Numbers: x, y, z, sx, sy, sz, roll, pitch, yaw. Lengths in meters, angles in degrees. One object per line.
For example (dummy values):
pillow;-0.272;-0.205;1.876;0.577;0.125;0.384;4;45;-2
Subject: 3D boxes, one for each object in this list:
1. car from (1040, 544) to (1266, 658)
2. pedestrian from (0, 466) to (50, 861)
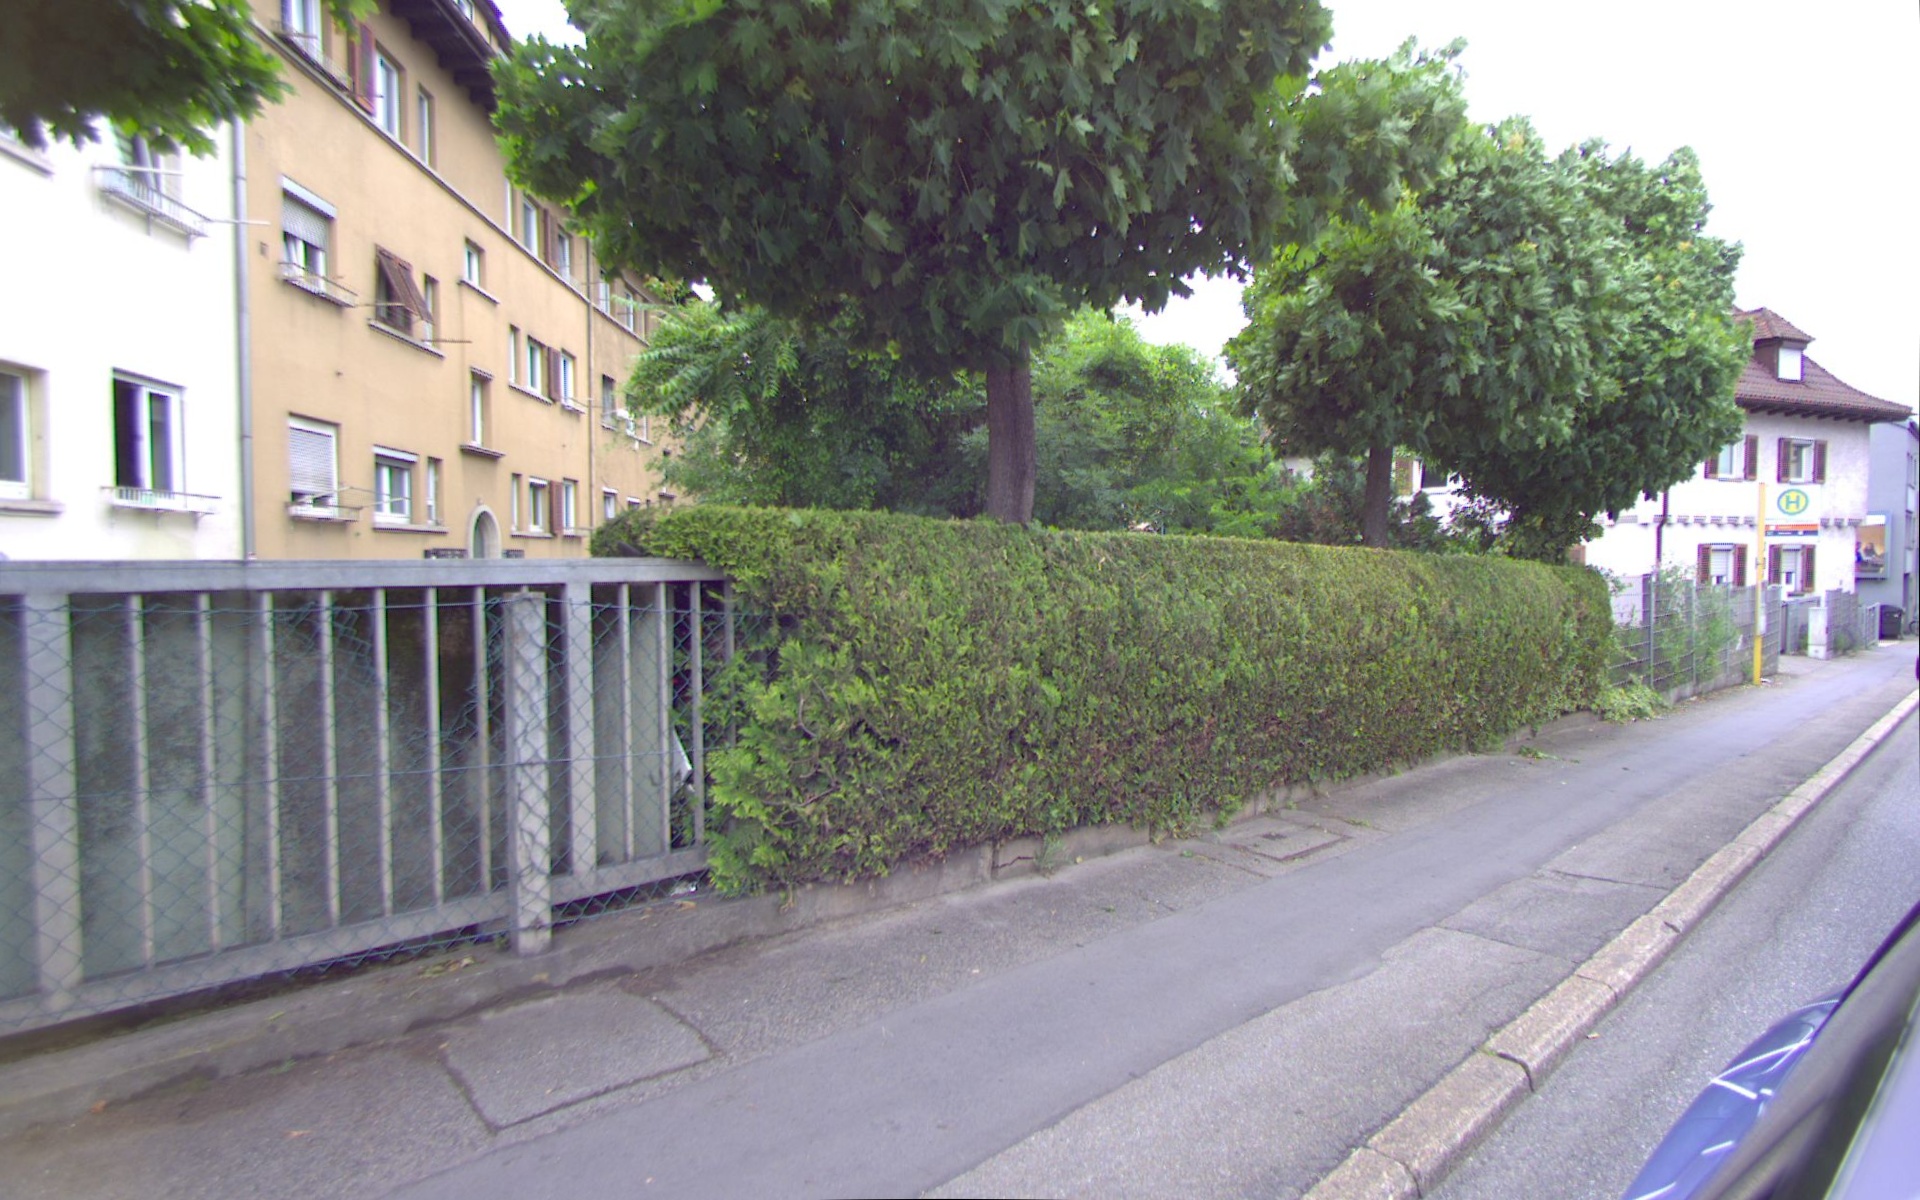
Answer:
car;3.642;-0.002;19.694;3.923;2.039;2.001;1;1;-1
pedestrian;-4.559;0.282;4.548;0.684;1.760;0.466;0;0;-44
